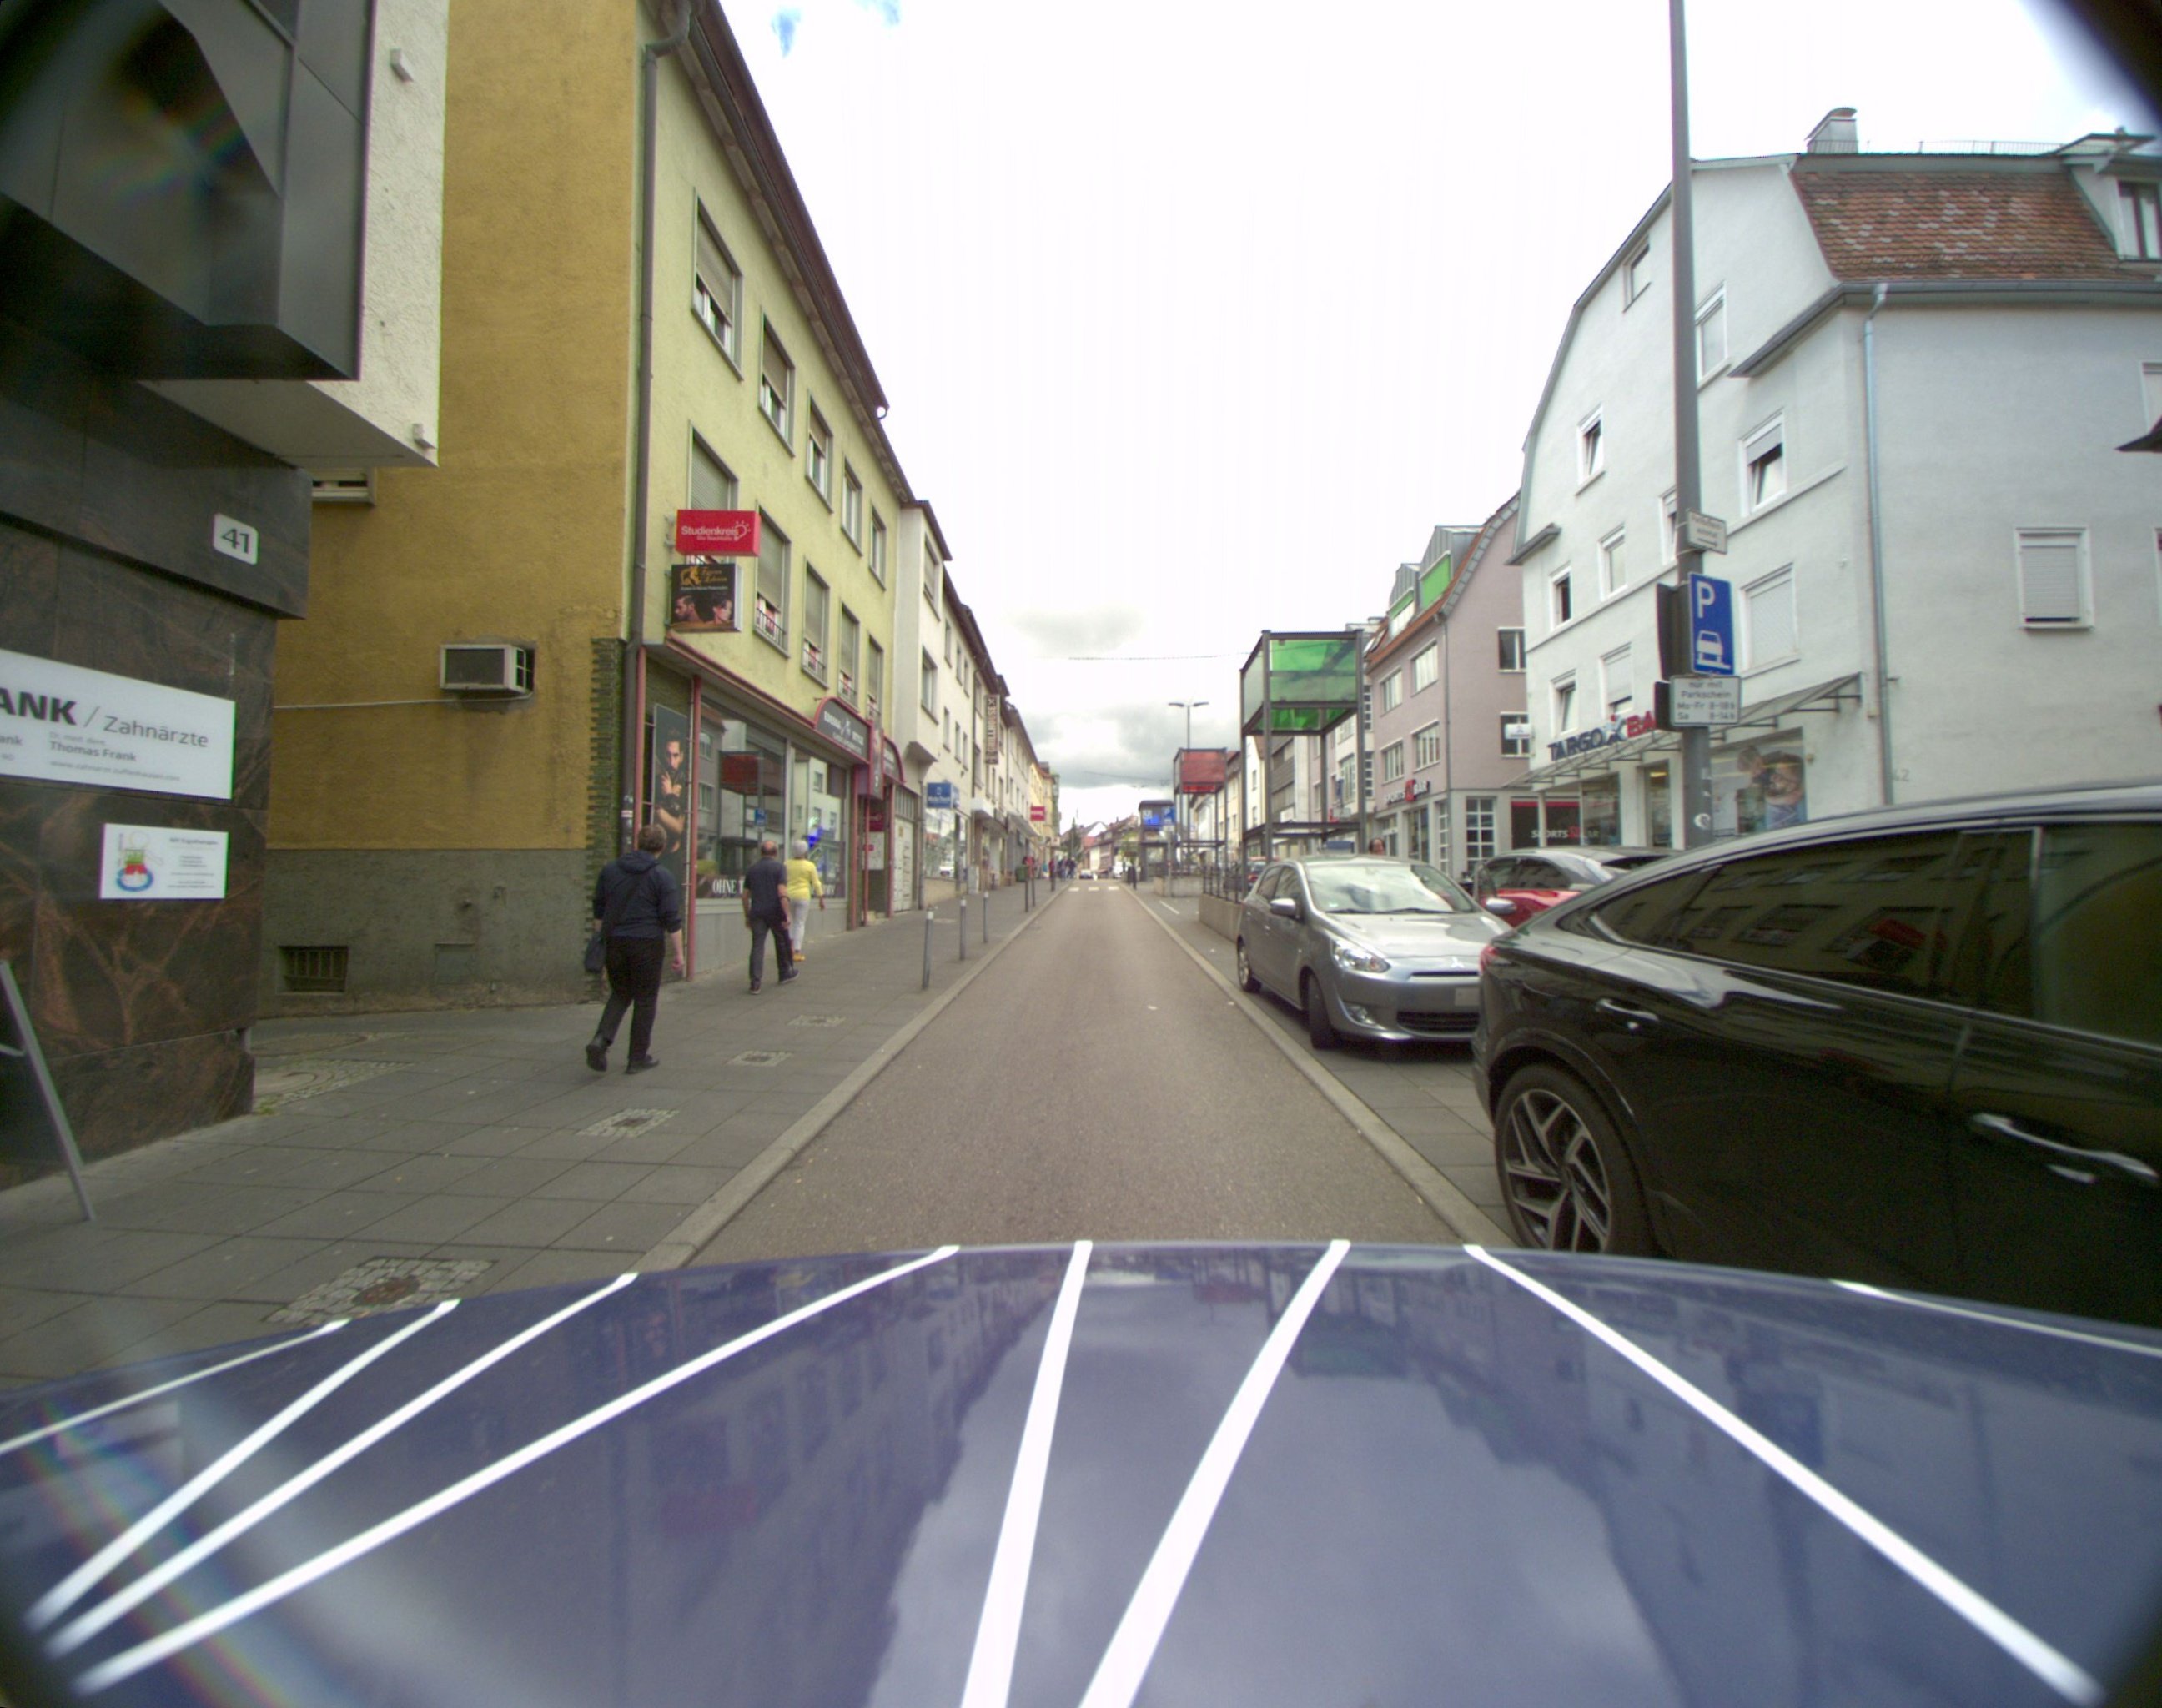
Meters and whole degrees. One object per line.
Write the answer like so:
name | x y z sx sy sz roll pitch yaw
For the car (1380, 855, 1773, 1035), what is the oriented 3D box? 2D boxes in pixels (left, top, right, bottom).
car | 5.132 0.796 8.701 1.743 1.534 4.193 0 0 0

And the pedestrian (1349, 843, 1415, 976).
pedestrian | 3.924 0.705 9.968 0.535 1.662 0.901 -1 0 4

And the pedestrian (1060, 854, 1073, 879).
pedestrian | -0.970 0.811 50.741 0.740 1.660 0.786 2 0 -8

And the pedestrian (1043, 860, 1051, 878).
pedestrian | -3.072 1.366 69.322 0.627 1.620 0.607 -2 1 -4

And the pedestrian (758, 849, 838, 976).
pedestrian | -3.798 0.753 10.251 0.713 1.621 0.835 2 0 1

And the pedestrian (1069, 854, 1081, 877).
pedestrian | -0.466 0.883 57.631 0.759 1.715 0.756 3 0 -4

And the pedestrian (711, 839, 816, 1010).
pedestrian | -3.454 0.740 8.328 0.713 1.743 0.785 4 0 1

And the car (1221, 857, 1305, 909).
car | 5.607 0.851 23.834 1.573 1.466 3.855 0 0 -2

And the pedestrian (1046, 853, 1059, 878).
pedestrian | -1.882 0.754 50.624 0.740 1.660 0.627 2 1 -8

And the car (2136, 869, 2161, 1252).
car | 5.047 0.839 1.032 1.743 1.467 3.883 3 0 0

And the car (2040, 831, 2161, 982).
car | 15.522 0.581 9.655 4.080 1.862 1.884 -3 0 3

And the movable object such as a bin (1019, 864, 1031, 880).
movable object such as a bin | -3.470 1.125 47.318 0.670 1.024 0.560 0 0 1

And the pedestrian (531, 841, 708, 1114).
pedestrian | -3.161 0.795 5.279 0.713 1.743 0.787 1 1 1

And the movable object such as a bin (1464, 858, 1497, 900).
movable object such as a bin | 13.469 0.828 25.609 0.691 1.368 0.808 -1 0 1

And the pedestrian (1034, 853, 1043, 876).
pedestrian | -3.142 0.758 55.983 0.627 1.716 0.607 2 1 -4

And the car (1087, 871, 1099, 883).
car | 1.909 3.614 120.394 1.741 1.608 3.999 -2 0 -1

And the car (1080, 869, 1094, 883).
car | 0.754 2.858 99.451 1.741 1.608 3.843 -2 0 1

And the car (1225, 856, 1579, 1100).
car | 2.450 0.818 6.807 1.624 1.523 3.670 -2 0 1

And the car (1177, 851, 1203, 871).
car | 9.490 0.591 66.199 1.683 1.562 4.122 -2 0 1

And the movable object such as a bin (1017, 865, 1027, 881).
movable object such as a bin | -3.619 1.157 46.708 0.568 0.951 0.498 0 0 1

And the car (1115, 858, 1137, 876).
car | 3.898 1.092 66.627 1.754 1.452 3.601 -2 0 2

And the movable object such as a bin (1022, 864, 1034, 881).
movable object such as a bin | -3.358 1.144 48.040 0.652 1.074 0.673 0 0 1

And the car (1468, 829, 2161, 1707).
car | 2.488 0.776 0.816 1.961 1.630 4.314 -2 0 1

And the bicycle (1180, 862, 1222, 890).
bicycle | 5.252 0.945 33.410 1.782 1.216 0.460 0 1 0

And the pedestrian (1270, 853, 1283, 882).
pedestrian | 12.025 0.831 46.683 0.592 1.706 0.513 -2 1 1
